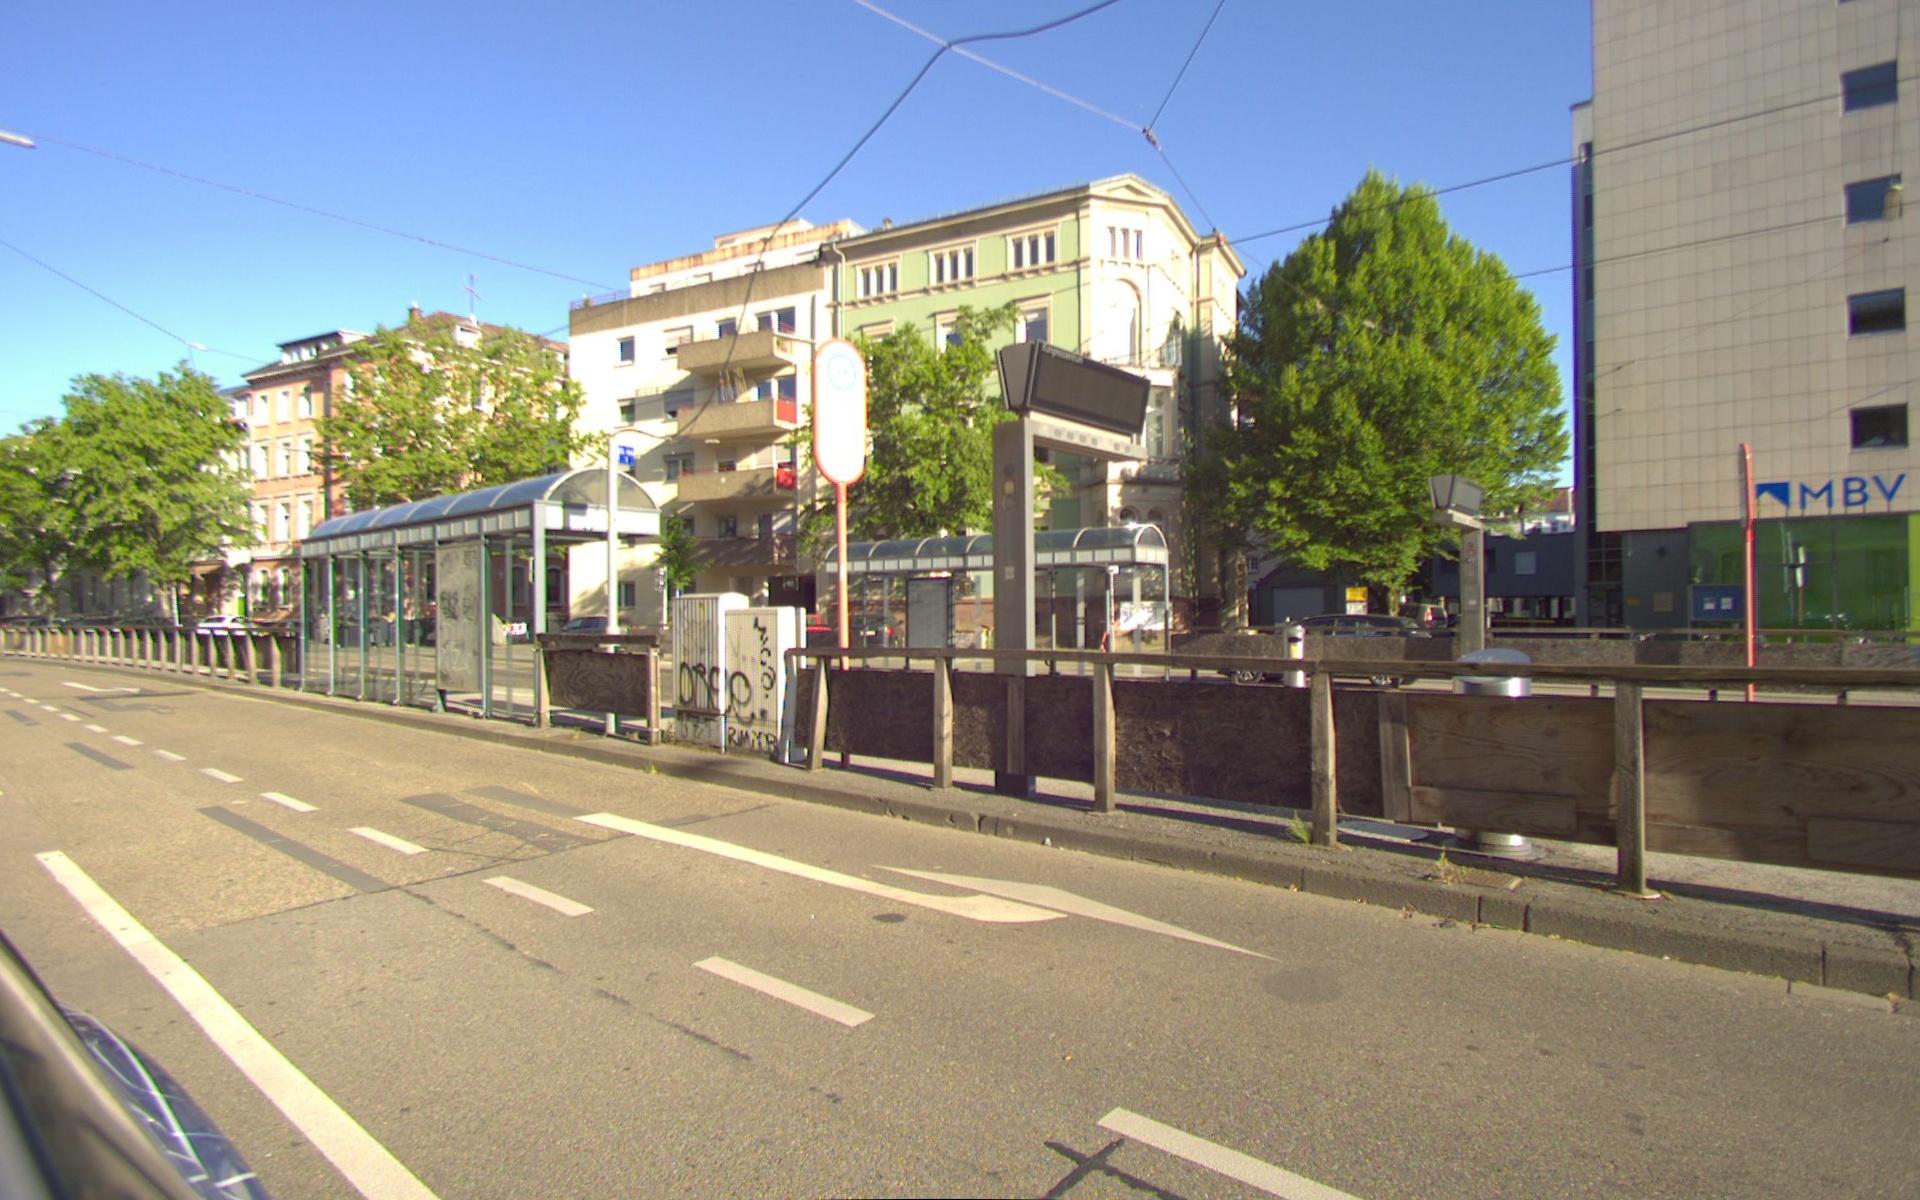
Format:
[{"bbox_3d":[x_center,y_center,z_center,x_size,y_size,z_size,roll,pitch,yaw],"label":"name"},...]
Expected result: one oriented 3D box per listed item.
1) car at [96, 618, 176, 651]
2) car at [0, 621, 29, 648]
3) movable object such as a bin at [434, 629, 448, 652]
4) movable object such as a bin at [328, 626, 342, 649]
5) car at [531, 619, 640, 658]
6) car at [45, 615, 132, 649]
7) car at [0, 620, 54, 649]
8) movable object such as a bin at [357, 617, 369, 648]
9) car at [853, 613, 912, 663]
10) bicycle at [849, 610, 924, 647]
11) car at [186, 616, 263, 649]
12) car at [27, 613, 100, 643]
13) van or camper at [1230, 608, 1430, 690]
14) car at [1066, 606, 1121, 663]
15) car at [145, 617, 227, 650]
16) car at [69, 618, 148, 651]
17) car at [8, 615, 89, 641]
[{"bbox_3d":[-46.855,1.935,57.635,1.609,1.629,3.993,-2,1,-7],"label":"car"},{"bbox_3d":[-63.967,2.320,66.711,1.748,1.666,3.872,-1,1,-1],"label":"car"},{"bbox_3d":[-24.927,1.950,48.592,0.551,1.105,0.376,0,0,34],"label":"movable object such as a bin"},{"bbox_3d":[-29.747,1.782,48.162,0.639,1.076,0.375,-1,-1,40],"label":"movable object such as a bin"},{"bbox_3d":[-14.368,1.446,38.718,4.278,1.421,1.693,-1,-1,32],"label":"car"},{"bbox_3d":[-52.242,1.877,60.766,1.682,1.735,4.291,0,2,-4],"label":"car"},{"bbox_3d":[-60.923,2.214,65.177,1.748,1.666,3.871,-1,1,-1],"label":"car"},{"bbox_3d":[-28.398,1.547,48.133,0.385,1.437,0.375,-1,-1,40],"label":"movable object such as a bin"},{"bbox_3d":[-2.602,1.224,33.777,1.845,1.436,4.521,0,1,-5],"label":"car"},{"bbox_3d":[-2.894,1.118,39.611,2.995,1.409,0.713,-1,-1,27],"label":"bicycle"},{"bbox_3d":[-39.455,1.705,54.405,1.708,1.533,3.924,-2,1,-9],"label":"car"},{"bbox_3d":[-55.240,1.704,62.441,1.682,1.544,3.284,-2,2,-3],"label":"car"},{"bbox_3d":[7.509,0.976,20.657,3.523,1.514,1.580,0,-3,38],"label":"van or camper"},{"bbox_3d":[4.176,1.021,31.593,1.572,1.581,4.504,0,1,8],"label":"car"},{"bbox_3d":[-42.476,1.796,55.635,1.664,1.519,3.926,-2,1,-4],"label":"car"},{"bbox_3d":[-49.455,1.980,58.872,1.609,1.629,3.993,-2,1,-7],"label":"car"},{"bbox_3d":[-57.500,1.744,63.917,1.745,1.496,3.823,-1,1,-1],"label":"car"}]
